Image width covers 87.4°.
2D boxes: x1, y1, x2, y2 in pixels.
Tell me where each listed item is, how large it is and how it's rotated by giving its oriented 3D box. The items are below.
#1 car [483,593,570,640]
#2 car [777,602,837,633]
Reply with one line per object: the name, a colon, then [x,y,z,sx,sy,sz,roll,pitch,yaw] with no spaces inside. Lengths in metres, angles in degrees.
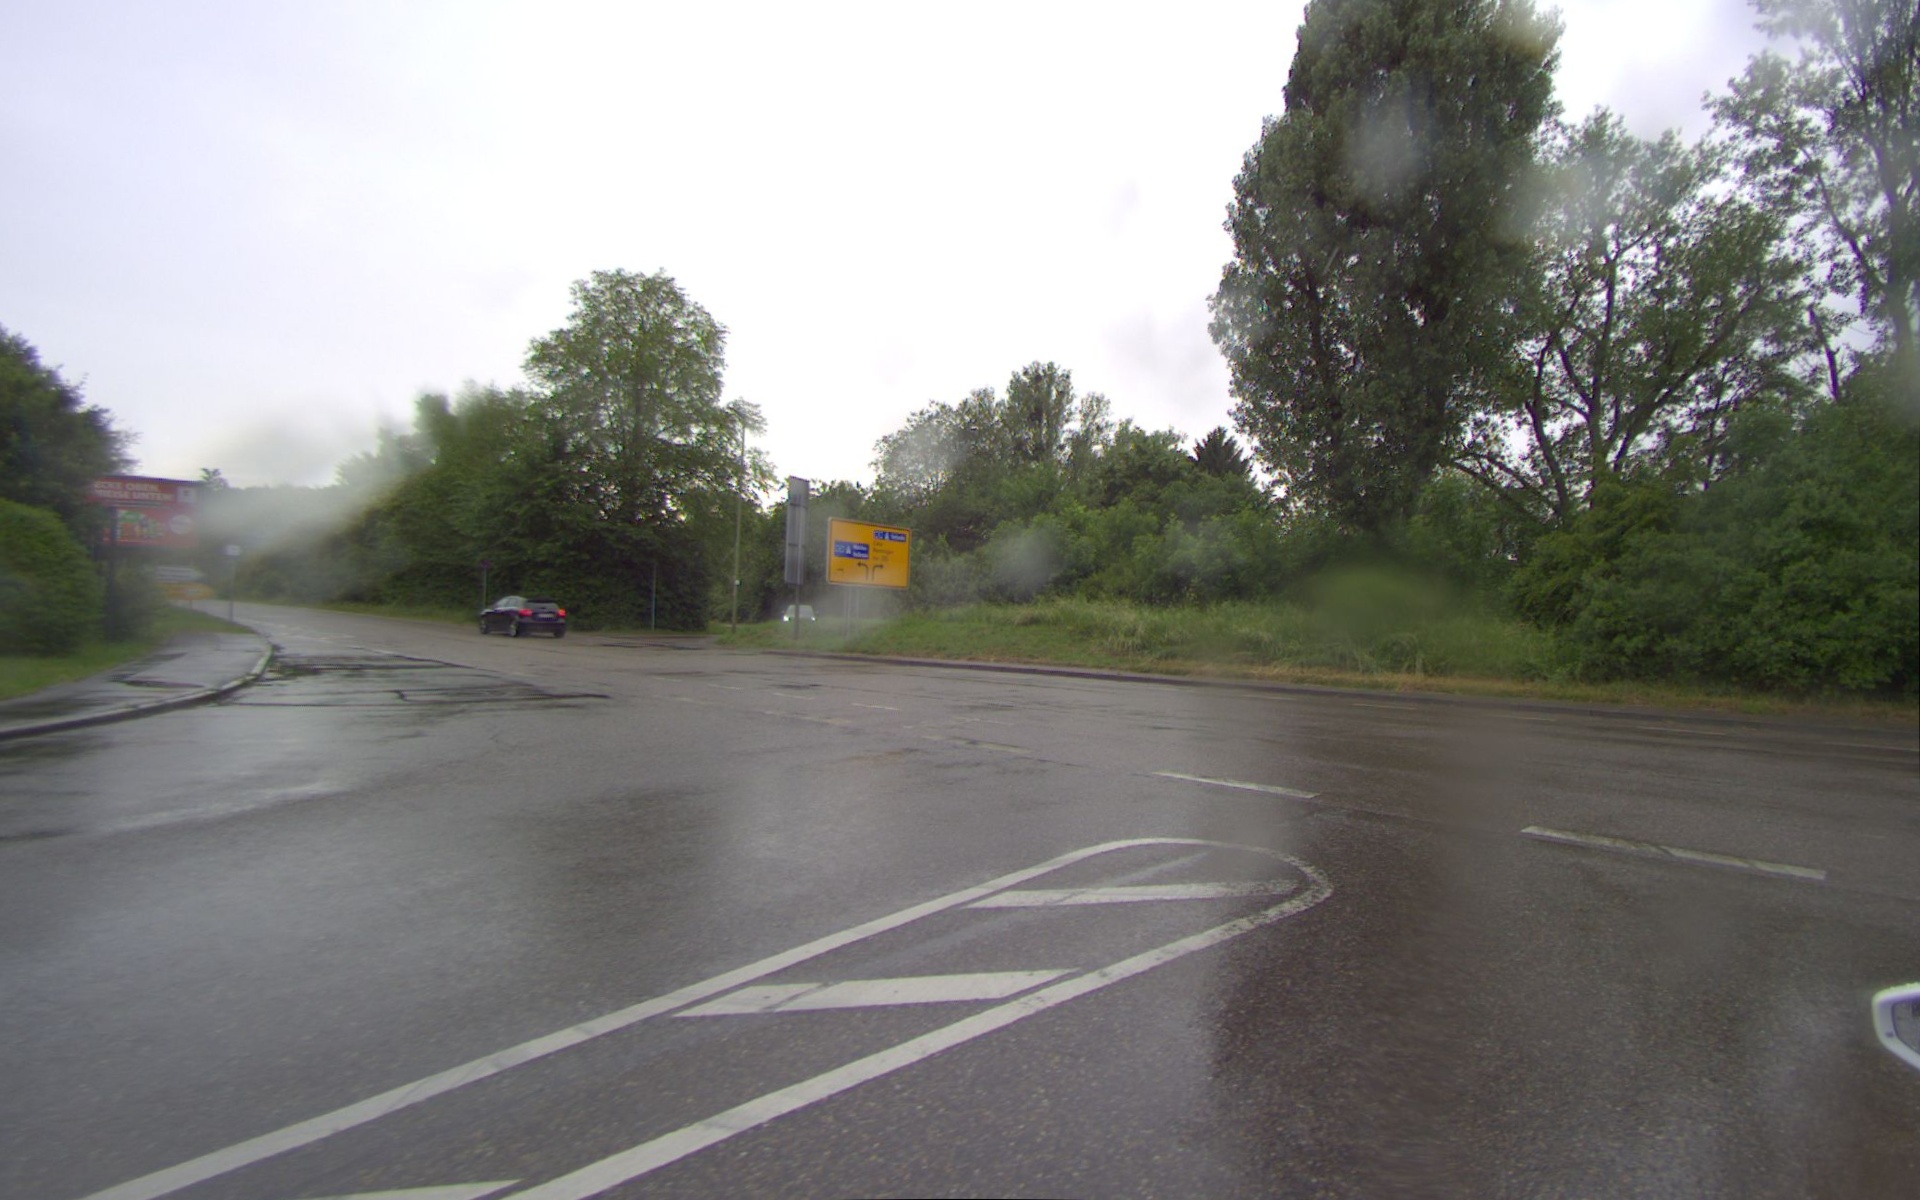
car: [-15.572,0.571,35.998,1.821,1.544,3.953,2,-1,-40]
car: [-7.922,0.897,52.463,1.819,1.509,4.123,1,-1,10]
